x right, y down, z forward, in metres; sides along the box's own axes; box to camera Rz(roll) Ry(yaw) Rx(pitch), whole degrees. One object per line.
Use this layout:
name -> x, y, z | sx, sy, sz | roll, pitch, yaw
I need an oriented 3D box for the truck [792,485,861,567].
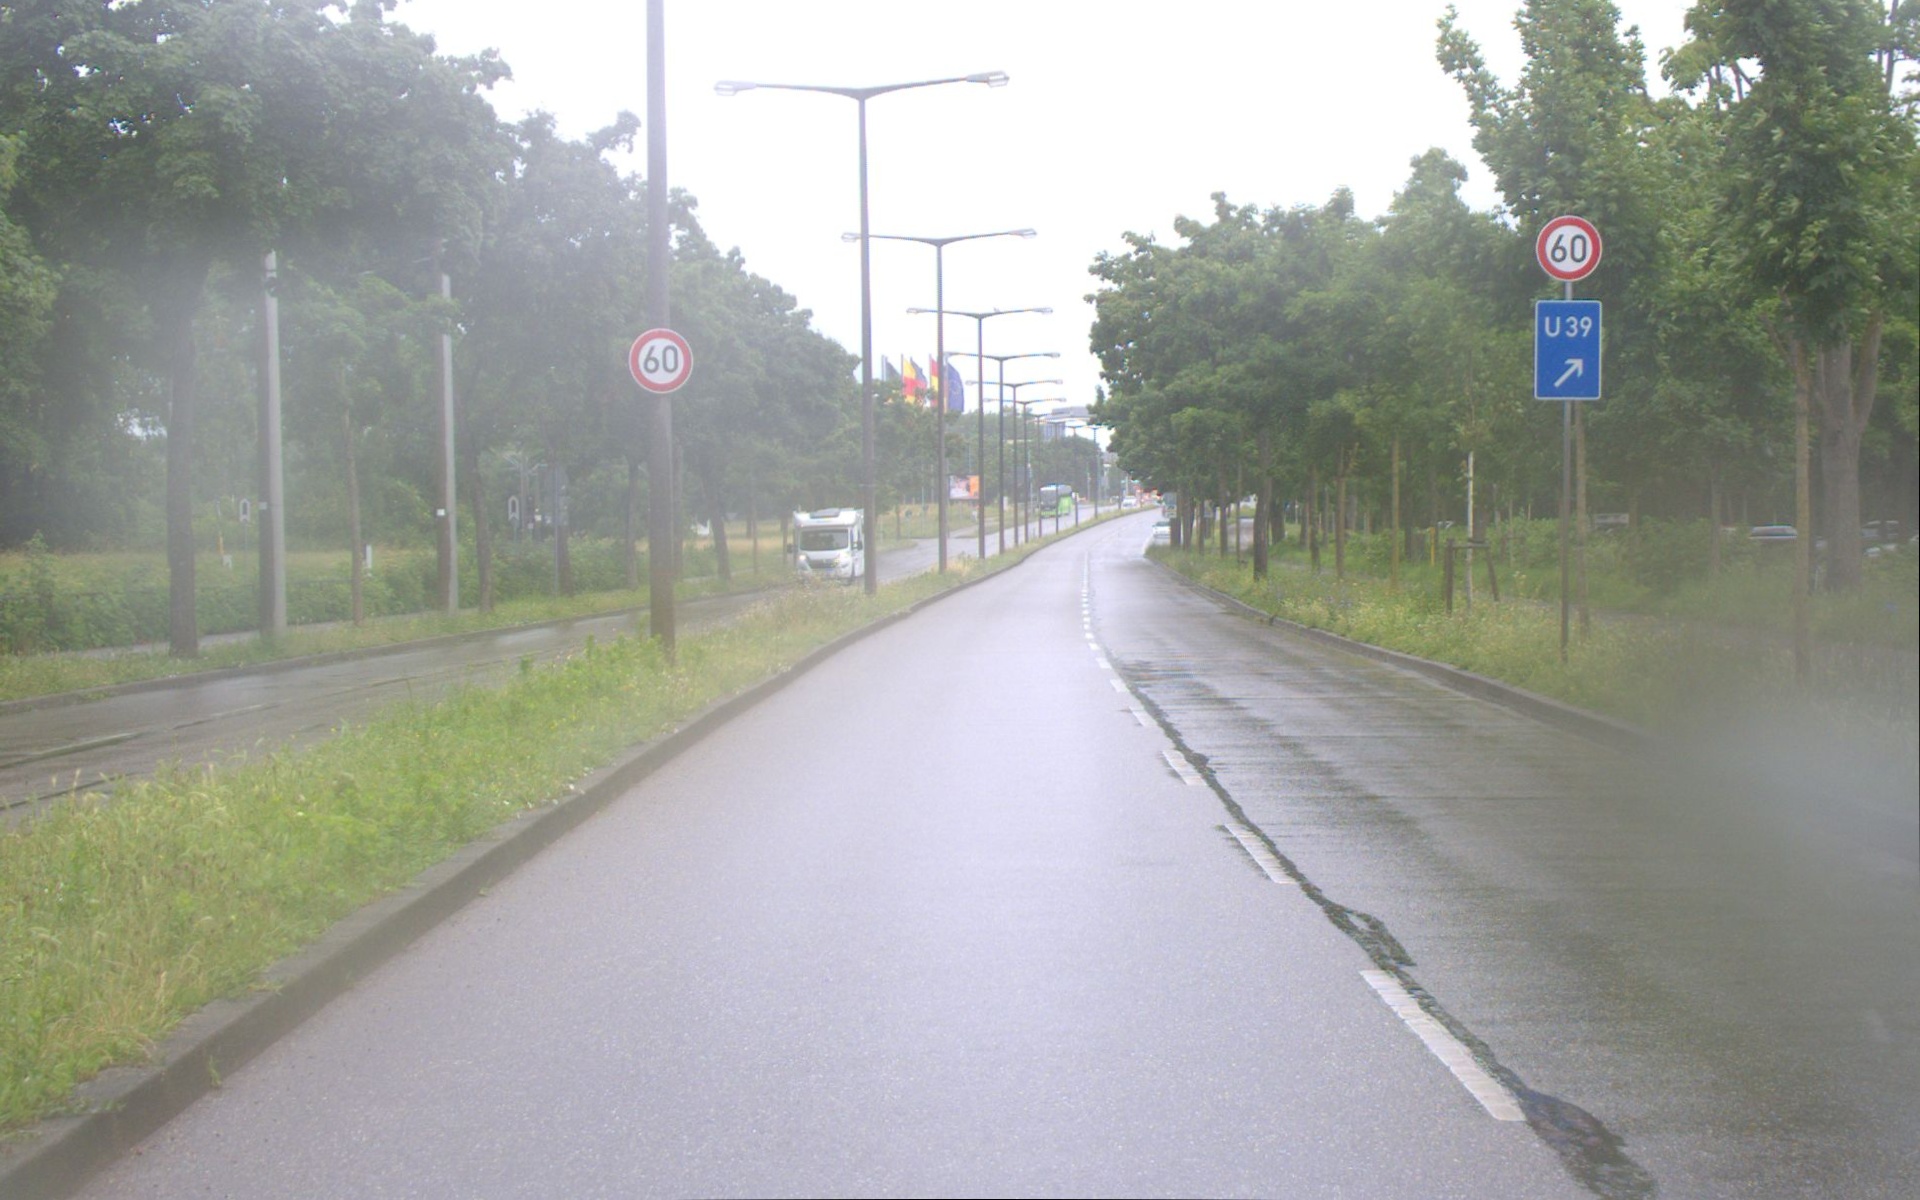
truck -> -4.817, -2.646, 124.665 | 2.138, 2.834, 5.074 | -2, 0, 0
